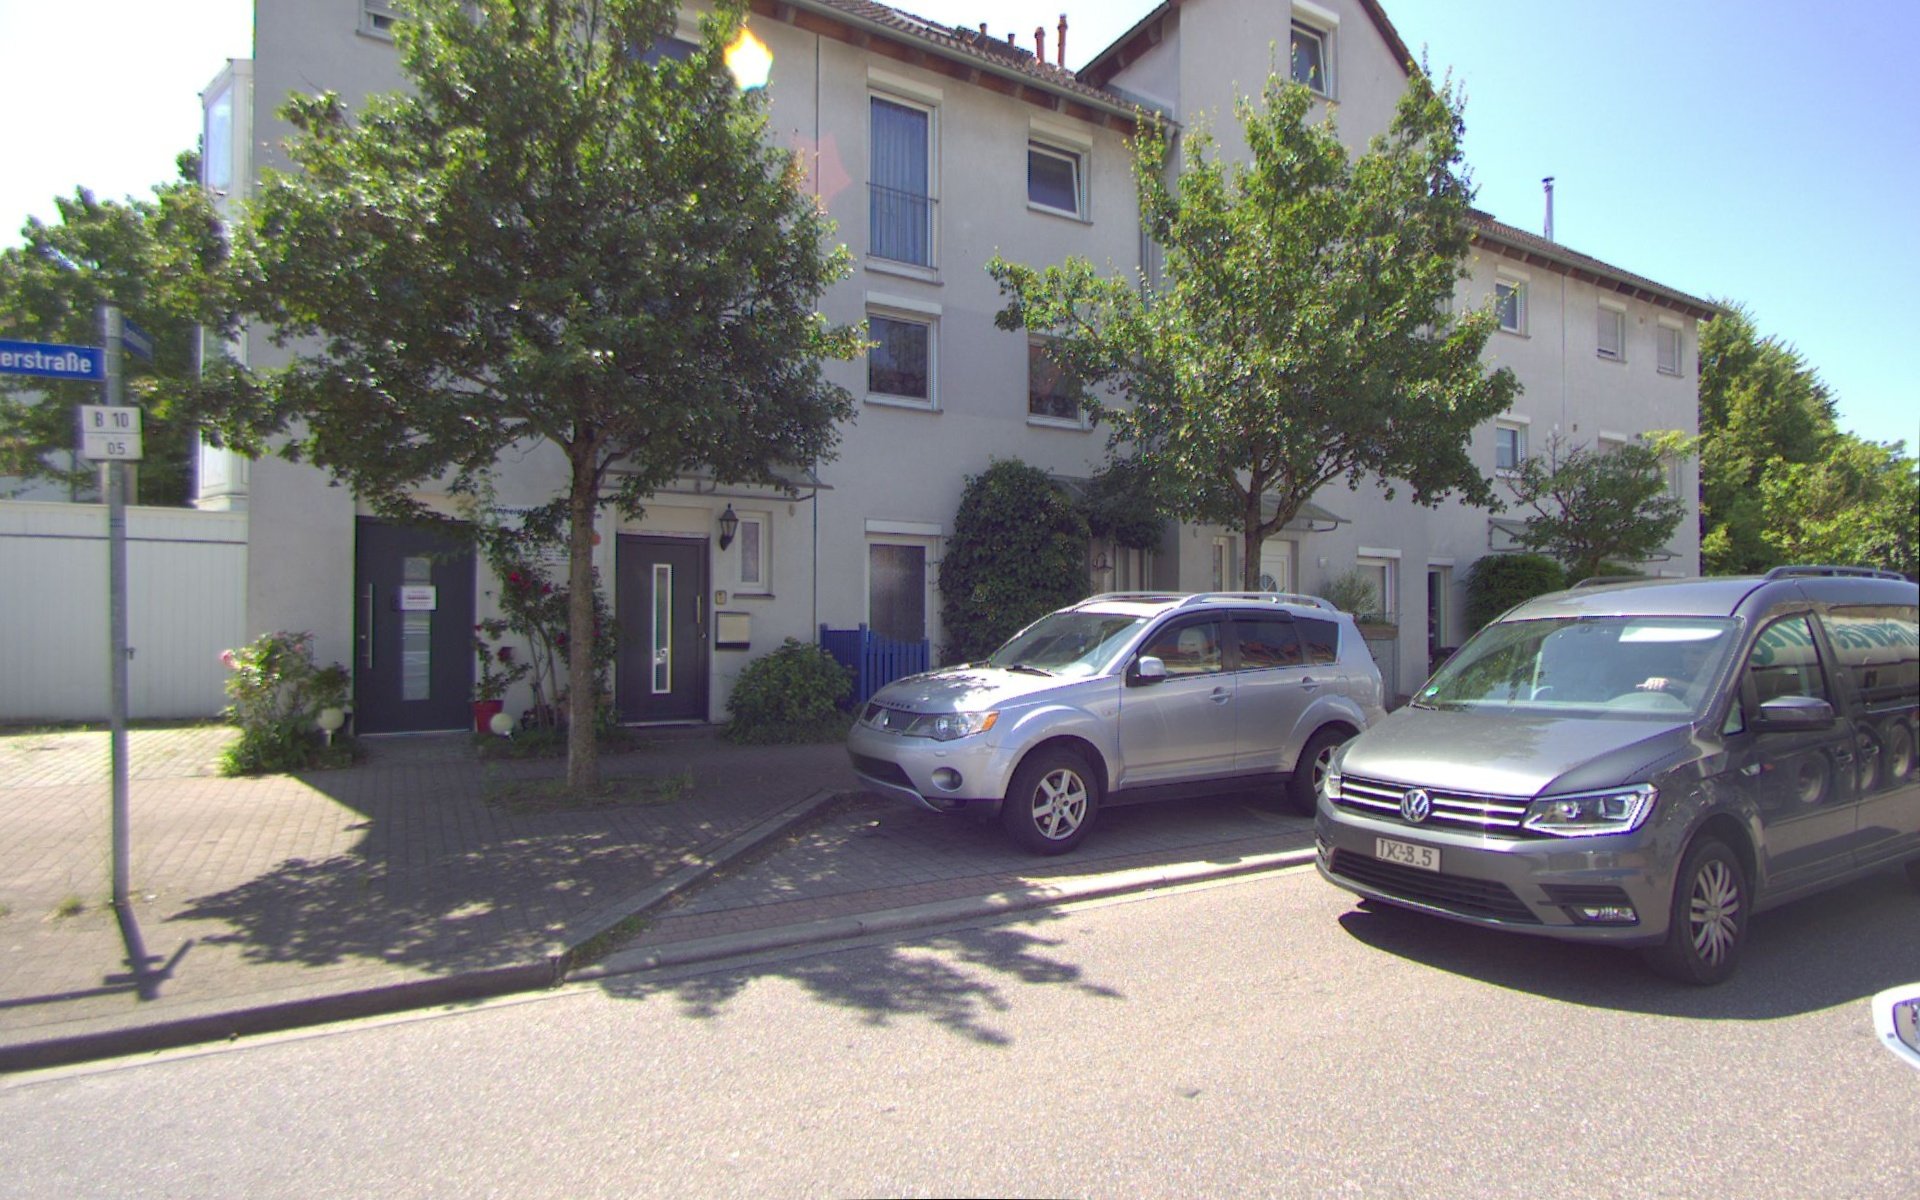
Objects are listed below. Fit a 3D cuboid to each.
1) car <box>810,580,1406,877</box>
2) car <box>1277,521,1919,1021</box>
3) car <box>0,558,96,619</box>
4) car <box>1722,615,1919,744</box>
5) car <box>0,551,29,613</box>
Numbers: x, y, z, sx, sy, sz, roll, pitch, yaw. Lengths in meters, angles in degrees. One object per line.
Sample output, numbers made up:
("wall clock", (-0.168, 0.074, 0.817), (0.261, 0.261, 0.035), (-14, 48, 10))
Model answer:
("car", (1.266, 0.780, 7.700), (4.474, 1.709, 1.697), (1, 0, -31))
("car", (3.969, 0.709, 5.633), (4.412, 1.879, 1.648), (1, -3, -30))
("car", (-23.811, -0.321, 25.421), (1.668, 1.447, 3.980), (1, 1, -21))
("car", (13.007, 1.069, 14.602), (3.950, 1.641, 1.684), (1, -1, -30))
("car", (-25.948, -0.500, 25.413), (1.720, 1.645, 3.988), (3, 0, -14))
